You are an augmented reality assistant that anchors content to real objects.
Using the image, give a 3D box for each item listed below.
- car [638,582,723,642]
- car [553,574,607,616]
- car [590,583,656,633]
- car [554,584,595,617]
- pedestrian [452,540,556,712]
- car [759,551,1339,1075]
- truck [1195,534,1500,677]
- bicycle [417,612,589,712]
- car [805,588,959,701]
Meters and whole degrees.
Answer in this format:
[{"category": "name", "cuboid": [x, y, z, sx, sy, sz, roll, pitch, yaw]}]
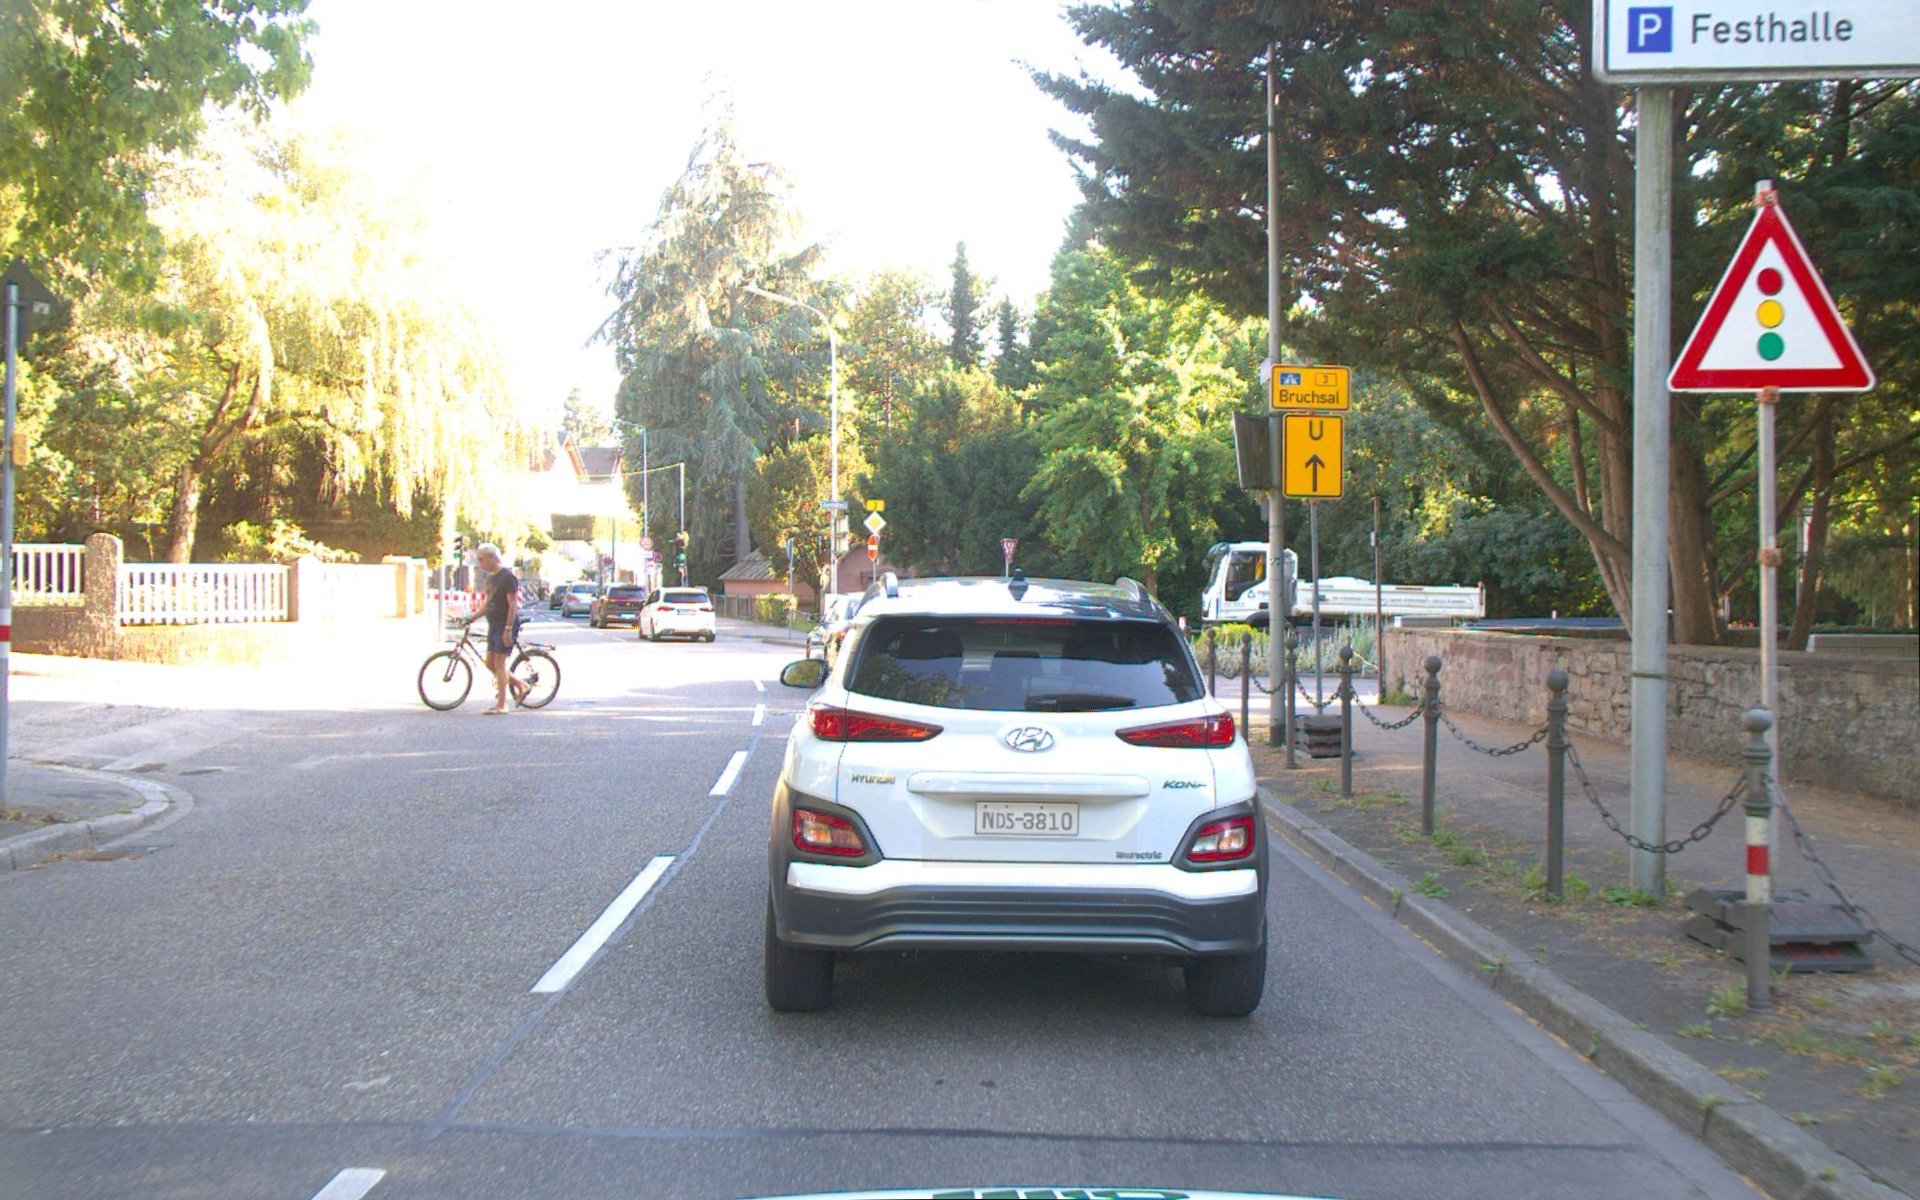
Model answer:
[{"category": "car", "cuboid": [-8.061, 0.318, 47.442, 1.778, 1.564, 3.979, 2, 0, -18]}, {"category": "car", "cuboid": [-17.339, -0.243, 75.370, 1.806, 1.771, 3.975, 2, 0, -21]}, {"category": "car", "cuboid": [-12.323, 0.268, 60.268, 1.804, 1.691, 3.978, 2, 0, -19]}, {"category": "car", "cuboid": [-20.778, 0.026, 89.062, 1.803, 1.691, 3.980, 2, 0, -18]}, {"category": "pedestrian", "cuboid": [-5.081, 0.285, 18.446, 0.934, 1.858, 0.547, 2, 0, -39]}, {"category": "car", "cuboid": [0.252, 0.667, 7.228, 1.783, 1.601, 3.999, 2, 0, -1]}, {"category": "truck", "cuboid": [8.763, 0.104, 37.982, 6.449, 2.945, 2.434, 2, 0, 4]}, {"category": "bicycle", "cuboid": [-5.201, 0.700, 18.887, 1.799, 1.061, 0.554, 2, 1, -38]}, {"category": "car", "cuboid": [-1.245, 0.596, 24.546, 1.677, 1.459, 4.354, 2, 0, -10]}]
